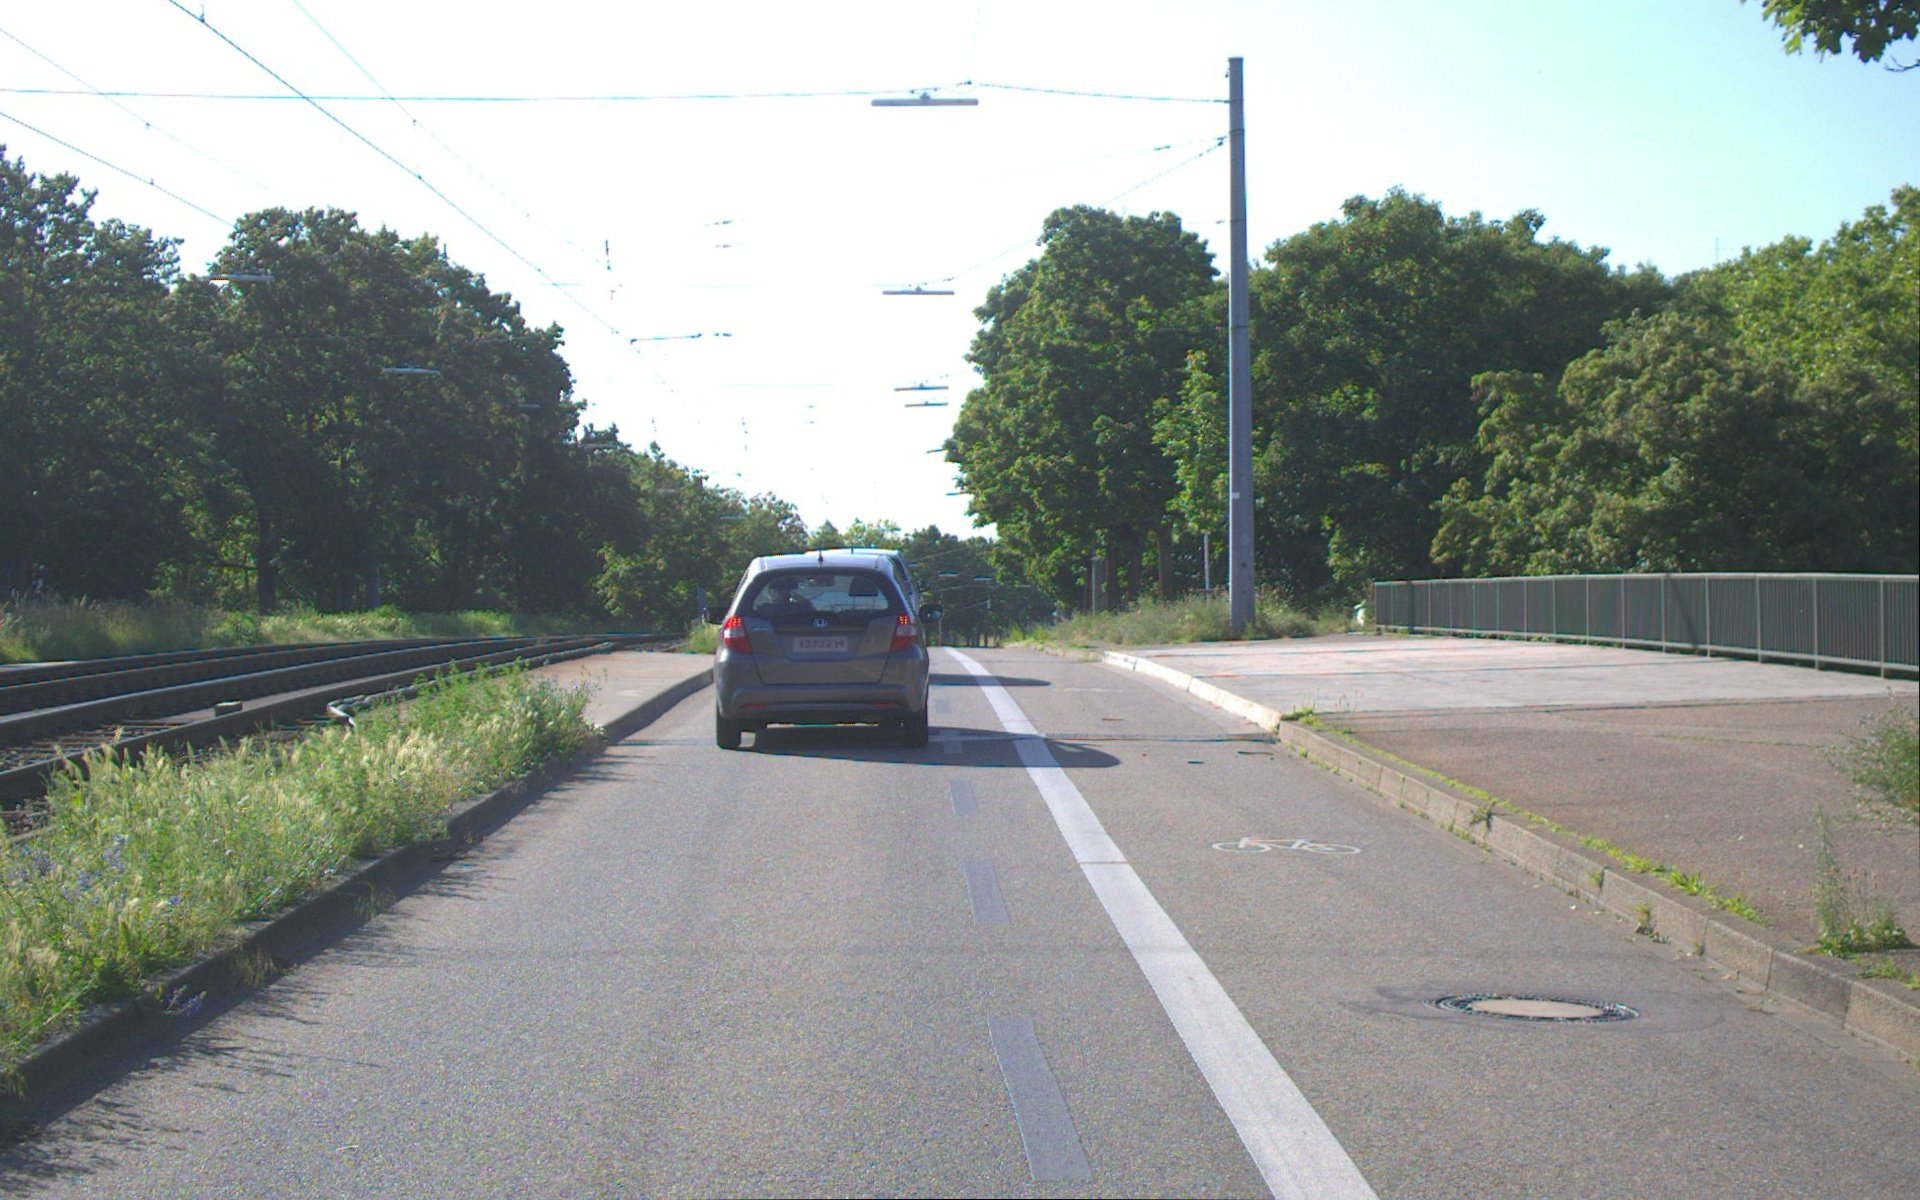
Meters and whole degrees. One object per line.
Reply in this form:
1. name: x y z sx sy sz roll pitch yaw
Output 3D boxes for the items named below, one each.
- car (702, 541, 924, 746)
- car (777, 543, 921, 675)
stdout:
1. car: -1.165 0.300 28.139 1.670 1.502 3.811 1 2 -1
2. car: -1.341 0.071 42.770 1.654 1.502 3.811 1 2 0
